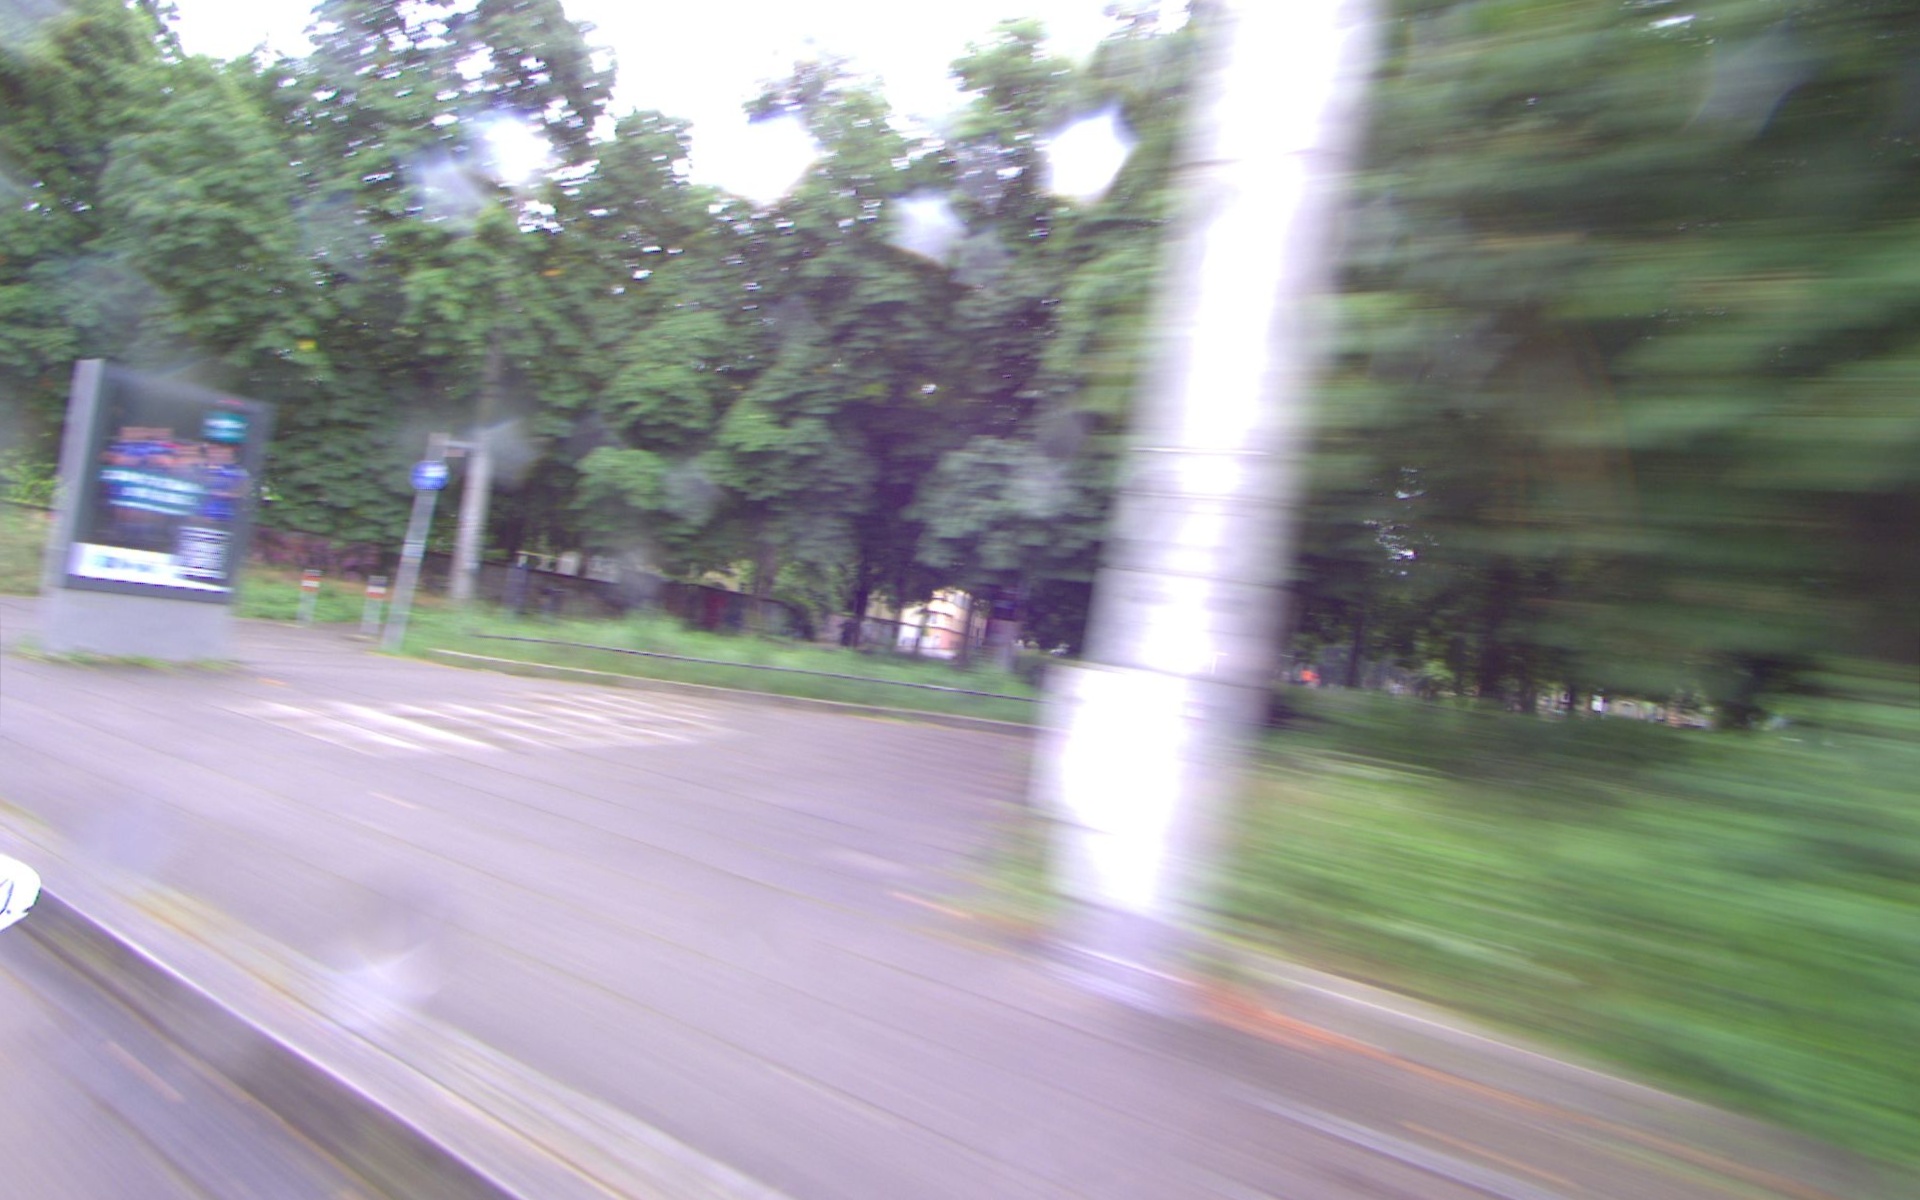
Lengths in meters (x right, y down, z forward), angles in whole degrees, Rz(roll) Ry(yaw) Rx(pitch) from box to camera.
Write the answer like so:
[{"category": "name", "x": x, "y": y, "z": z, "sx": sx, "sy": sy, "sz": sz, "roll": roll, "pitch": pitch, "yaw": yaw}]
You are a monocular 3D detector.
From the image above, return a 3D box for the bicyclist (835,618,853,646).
[{"category": "bicyclist", "x": -5.888, "y": 1.634, "z": 51.011, "sx": 0.583, "sy": 1.309, "sz": 0.801, "roll": 7, "pitch": -1, "yaw": 8}]

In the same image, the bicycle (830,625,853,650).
[{"category": "bicycle", "x": -5.970, "y": 1.913, "z": 50.658, "sx": 0.614, "sy": 1.153, "sz": 1.714, "roll": 6, "pitch": -2, "yaw": 9}]
